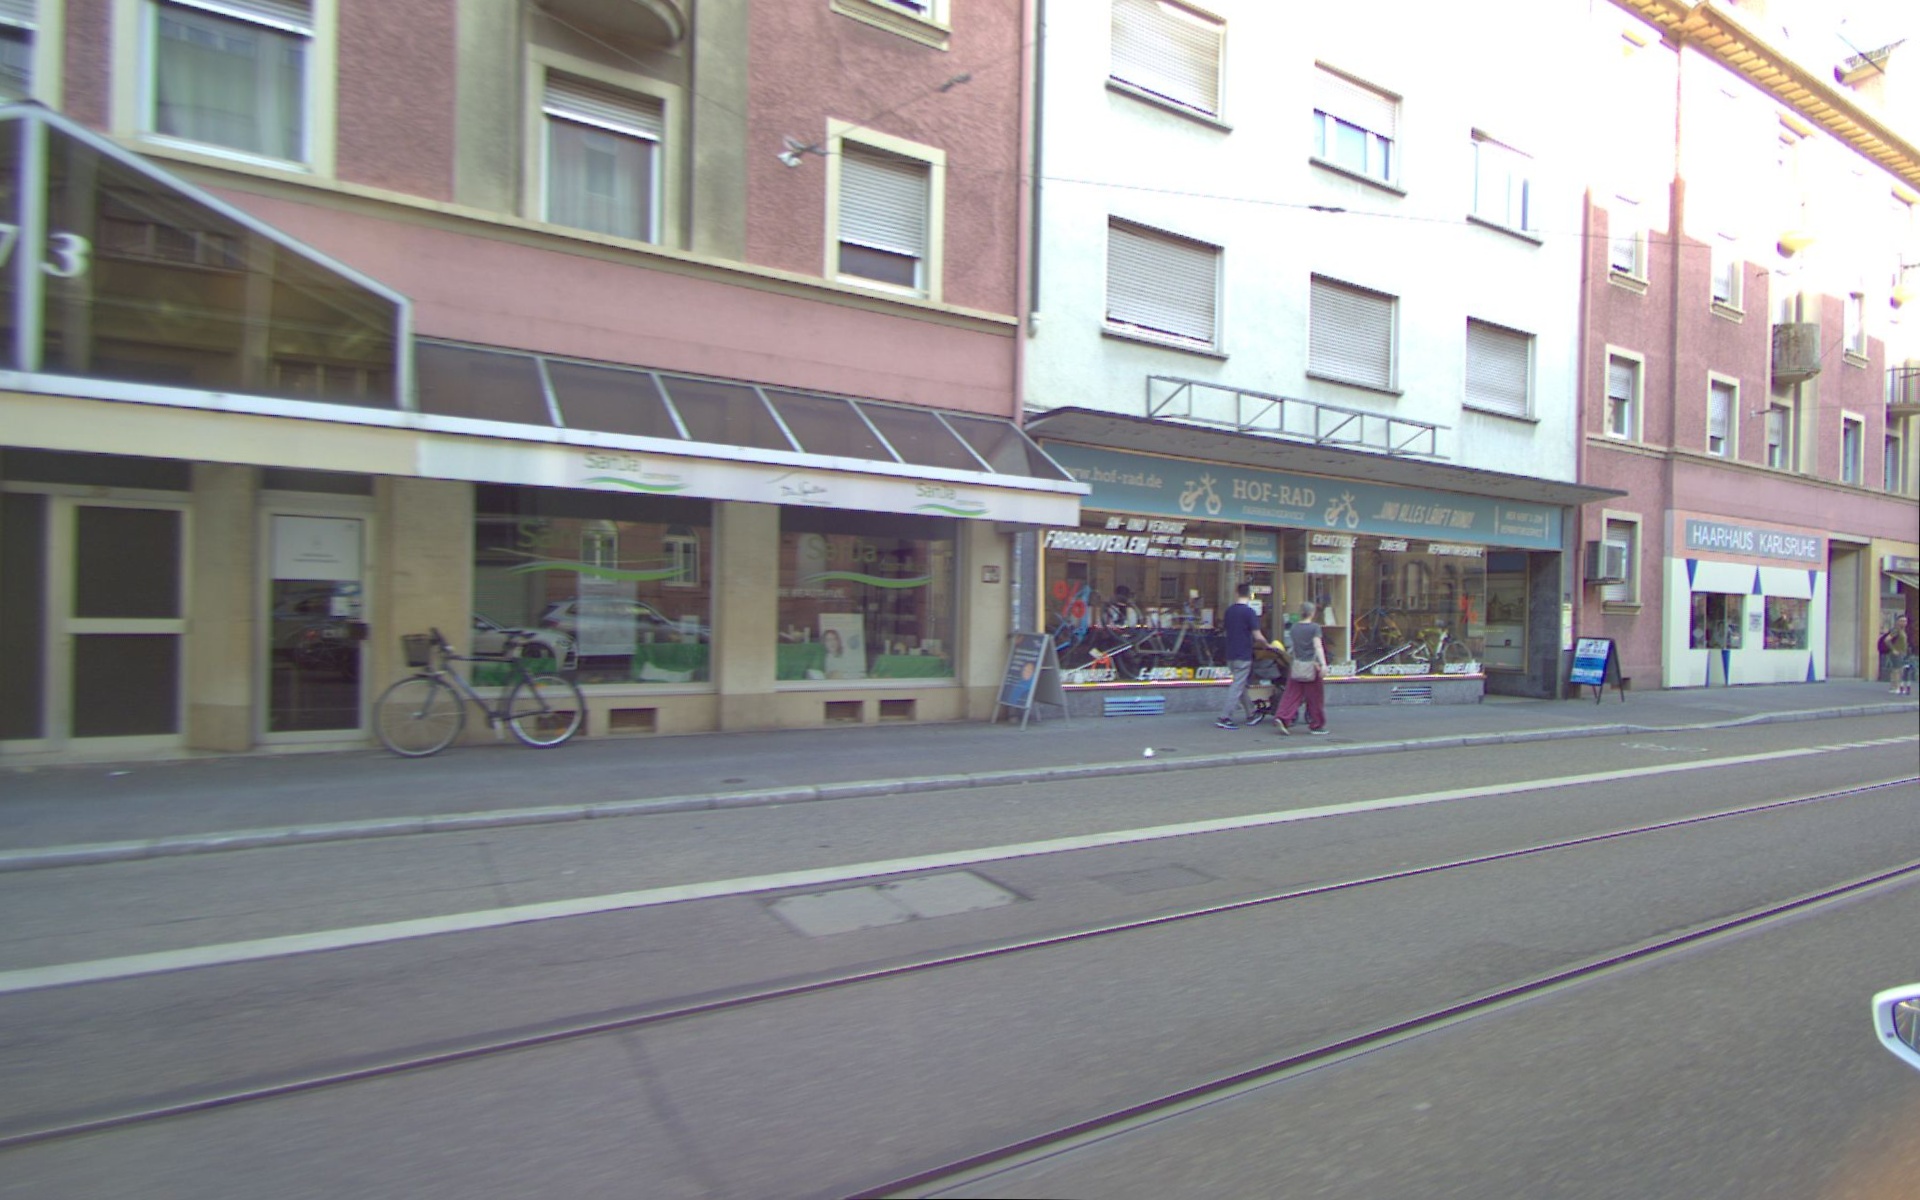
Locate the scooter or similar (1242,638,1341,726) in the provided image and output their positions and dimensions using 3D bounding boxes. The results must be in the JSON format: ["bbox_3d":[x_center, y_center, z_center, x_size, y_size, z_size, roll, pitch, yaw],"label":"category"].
[{"bbox_3d":[4.345,1.051,13.171,1.092,1.075,0.658,1,0,-30],"label":"scooter or similar"}]

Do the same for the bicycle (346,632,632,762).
[{"bbox_3d":[-4.227,0.849,9.159,2.303,1.074,0.422,2,0,-31],"label":"bicycle"}]

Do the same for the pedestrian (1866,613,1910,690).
[{"bbox_3d":[21.081,1.171,22.822,0.609,1.708,0.560,2,0,-32],"label":"pedestrian"}]

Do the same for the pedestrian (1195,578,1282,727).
[{"bbox_3d":[3.512,0.641,12.669,0.811,1.813,0.622,2,0,-31],"label":"pedestrian"}]

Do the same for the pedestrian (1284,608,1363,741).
[{"bbox_3d":[4.462,0.897,12.349,0.616,1.569,0.632,2,0,-31],"label":"pedestrian"}]
